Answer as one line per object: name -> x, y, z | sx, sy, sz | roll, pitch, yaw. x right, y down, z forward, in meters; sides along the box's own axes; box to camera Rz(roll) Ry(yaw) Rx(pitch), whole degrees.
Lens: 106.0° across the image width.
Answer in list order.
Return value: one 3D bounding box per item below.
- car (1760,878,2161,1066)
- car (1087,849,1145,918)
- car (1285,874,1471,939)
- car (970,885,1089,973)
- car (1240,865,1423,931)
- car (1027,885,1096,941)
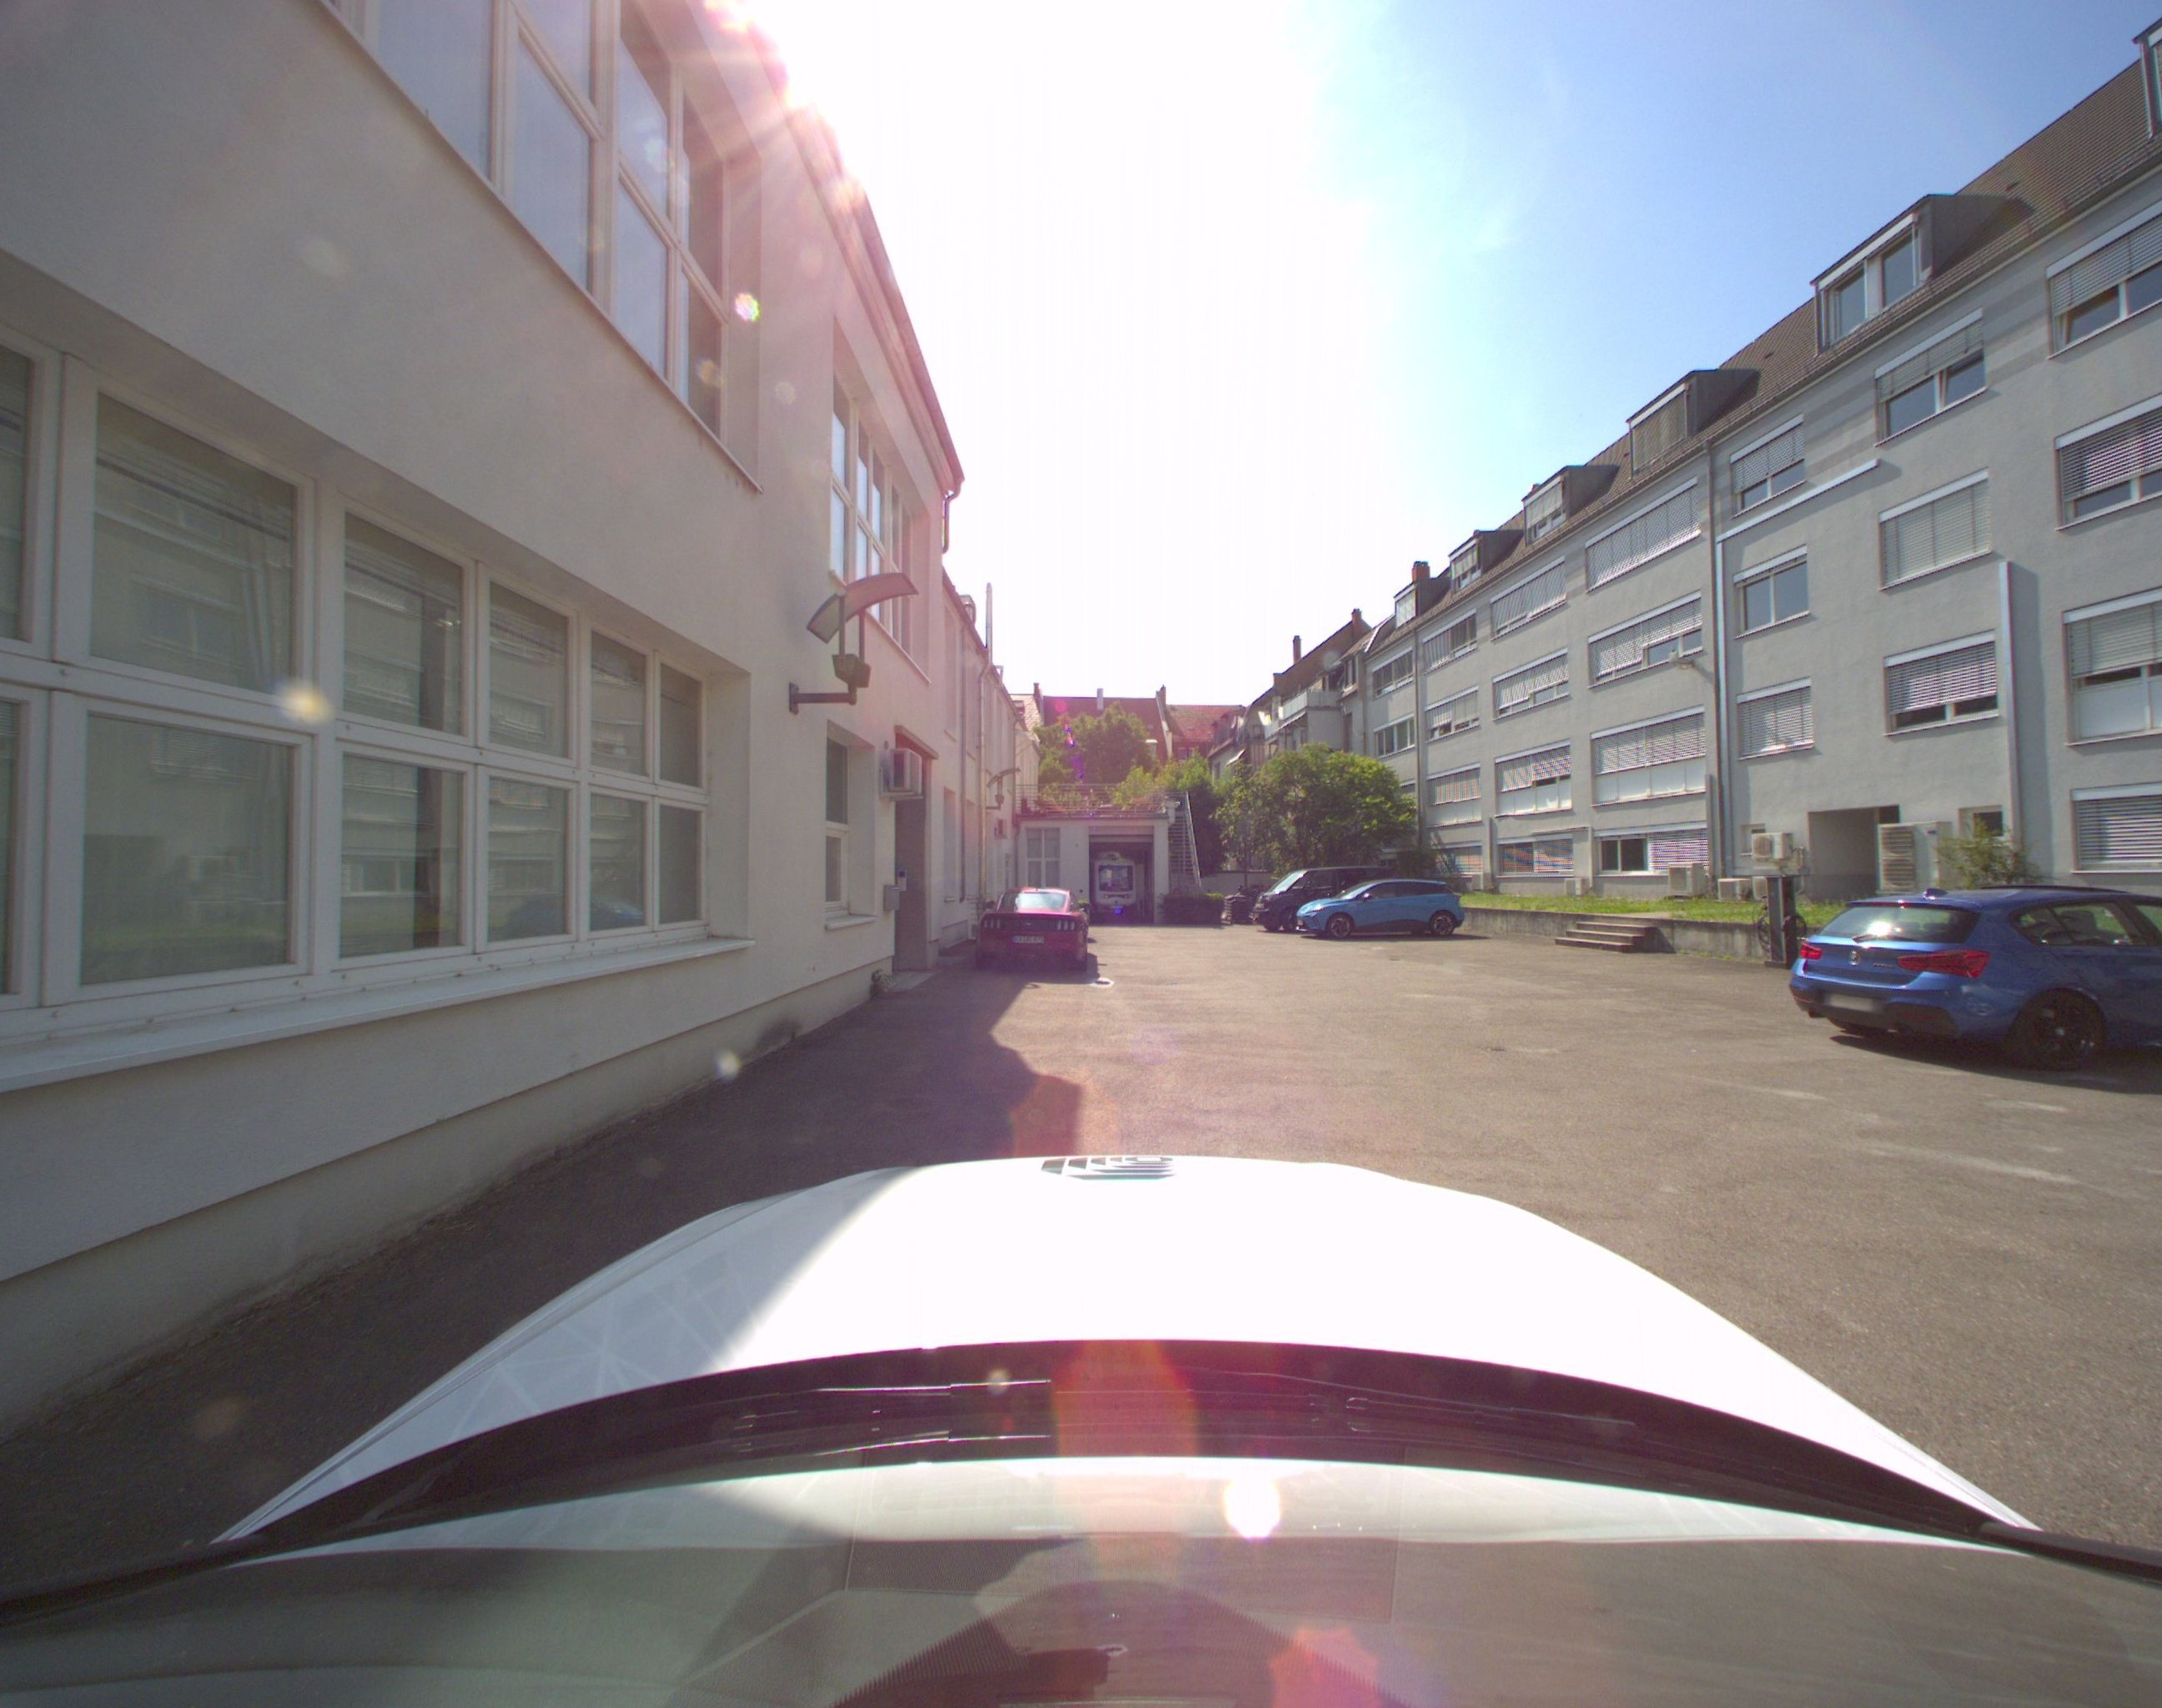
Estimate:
car -> 8.754, 0.948, 7.239 | 3.973, 1.394, 1.689 | -1, -2, 1
car -> 1.466, 1.263, 34.766 | 2.166, 2.607, 6.736 | -1, -2, 2
car -> 7.847, 1.370, 21.814 | 4.218, 1.532, 1.998 | -1, -1, -2
car -> -0.807, 1.272, 14.963 | 1.845, 1.320, 4.000 | 1, -2, 1
car -> 7.655, 1.298, 25.075 | 4.954, 1.768, 2.088 | -1, -1, -11
car -> -0.440, 1.524, 21.809 | 1.608, 1.296, 3.760 | -1, -2, 2
